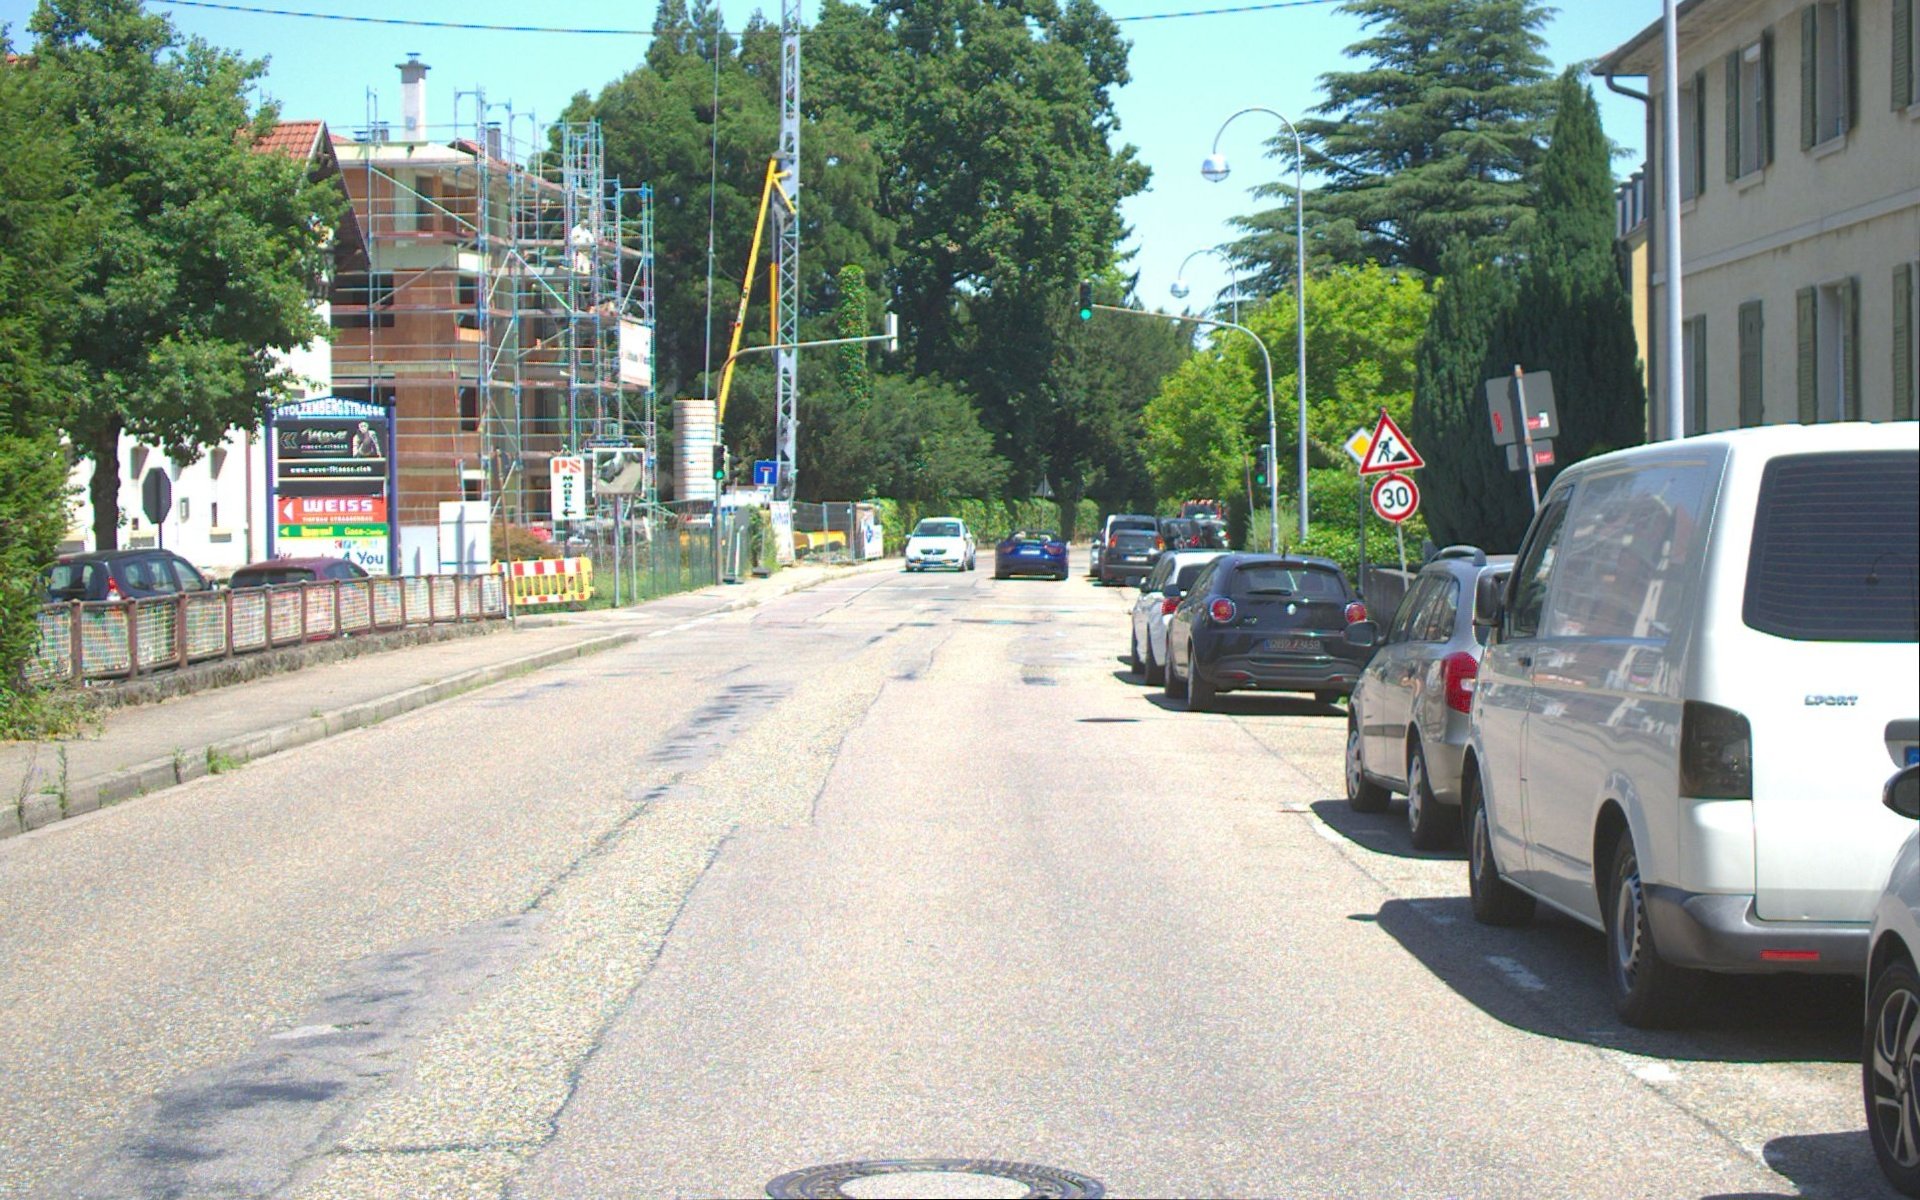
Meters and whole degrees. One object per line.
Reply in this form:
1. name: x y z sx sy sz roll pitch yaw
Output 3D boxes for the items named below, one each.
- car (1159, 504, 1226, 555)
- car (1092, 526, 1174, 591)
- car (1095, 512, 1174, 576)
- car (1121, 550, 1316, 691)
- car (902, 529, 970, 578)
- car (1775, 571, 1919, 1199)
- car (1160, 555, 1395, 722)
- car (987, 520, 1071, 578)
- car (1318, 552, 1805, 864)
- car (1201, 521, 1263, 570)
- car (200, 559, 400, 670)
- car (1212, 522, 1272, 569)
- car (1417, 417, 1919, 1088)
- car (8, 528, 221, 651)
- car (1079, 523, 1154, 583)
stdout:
1. car: 7.747 -2.336 114.227 1.994 1.656 3.999 -1 1 7
2. car: 4.387 -1.056 86.733 1.994 1.568 4.000 -1 1 4
3. car: 4.677 -1.486 91.696 1.994 1.656 4.000 -1 1 4
4. car: 2.795 0.187 37.917 1.761 1.446 3.890 0 1 -1
5. car: -0.709 -1.400 102.938 1.761 1.446 3.839 0 1 4
6. car: 2.973 0.689 6.822 1.761 1.446 3.649 0 1 -1
7. car: 2.921 0.317 32.317 1.761 1.446 3.840 0 1 -1
8. car: 1.864 -1.380 92.019 1.959 1.463 4.000 -1 1 5
9. car: 3.068 0.482 18.383 1.761 1.446 4.223 0 1 -1
10. car: 9.429 -1.893 118.990 1.994 1.656 3.999 -1 1 7
11. car: -8.731 0.167 45.754 1.660 1.384 3.534 -1 1 6
12. car: 10.197 -1.969 124.123 1.994 1.656 3.999 -1 1 7
13. car: 3.004 0.422 12.244 1.993 1.894 4.823 2 1 -1
14. car: -11.251 -0.161 45.940 1.660 1.570 3.534 -1 1 6
15. car: 4.437 -1.328 96.954 1.994 1.656 4.000 -1 1 4
